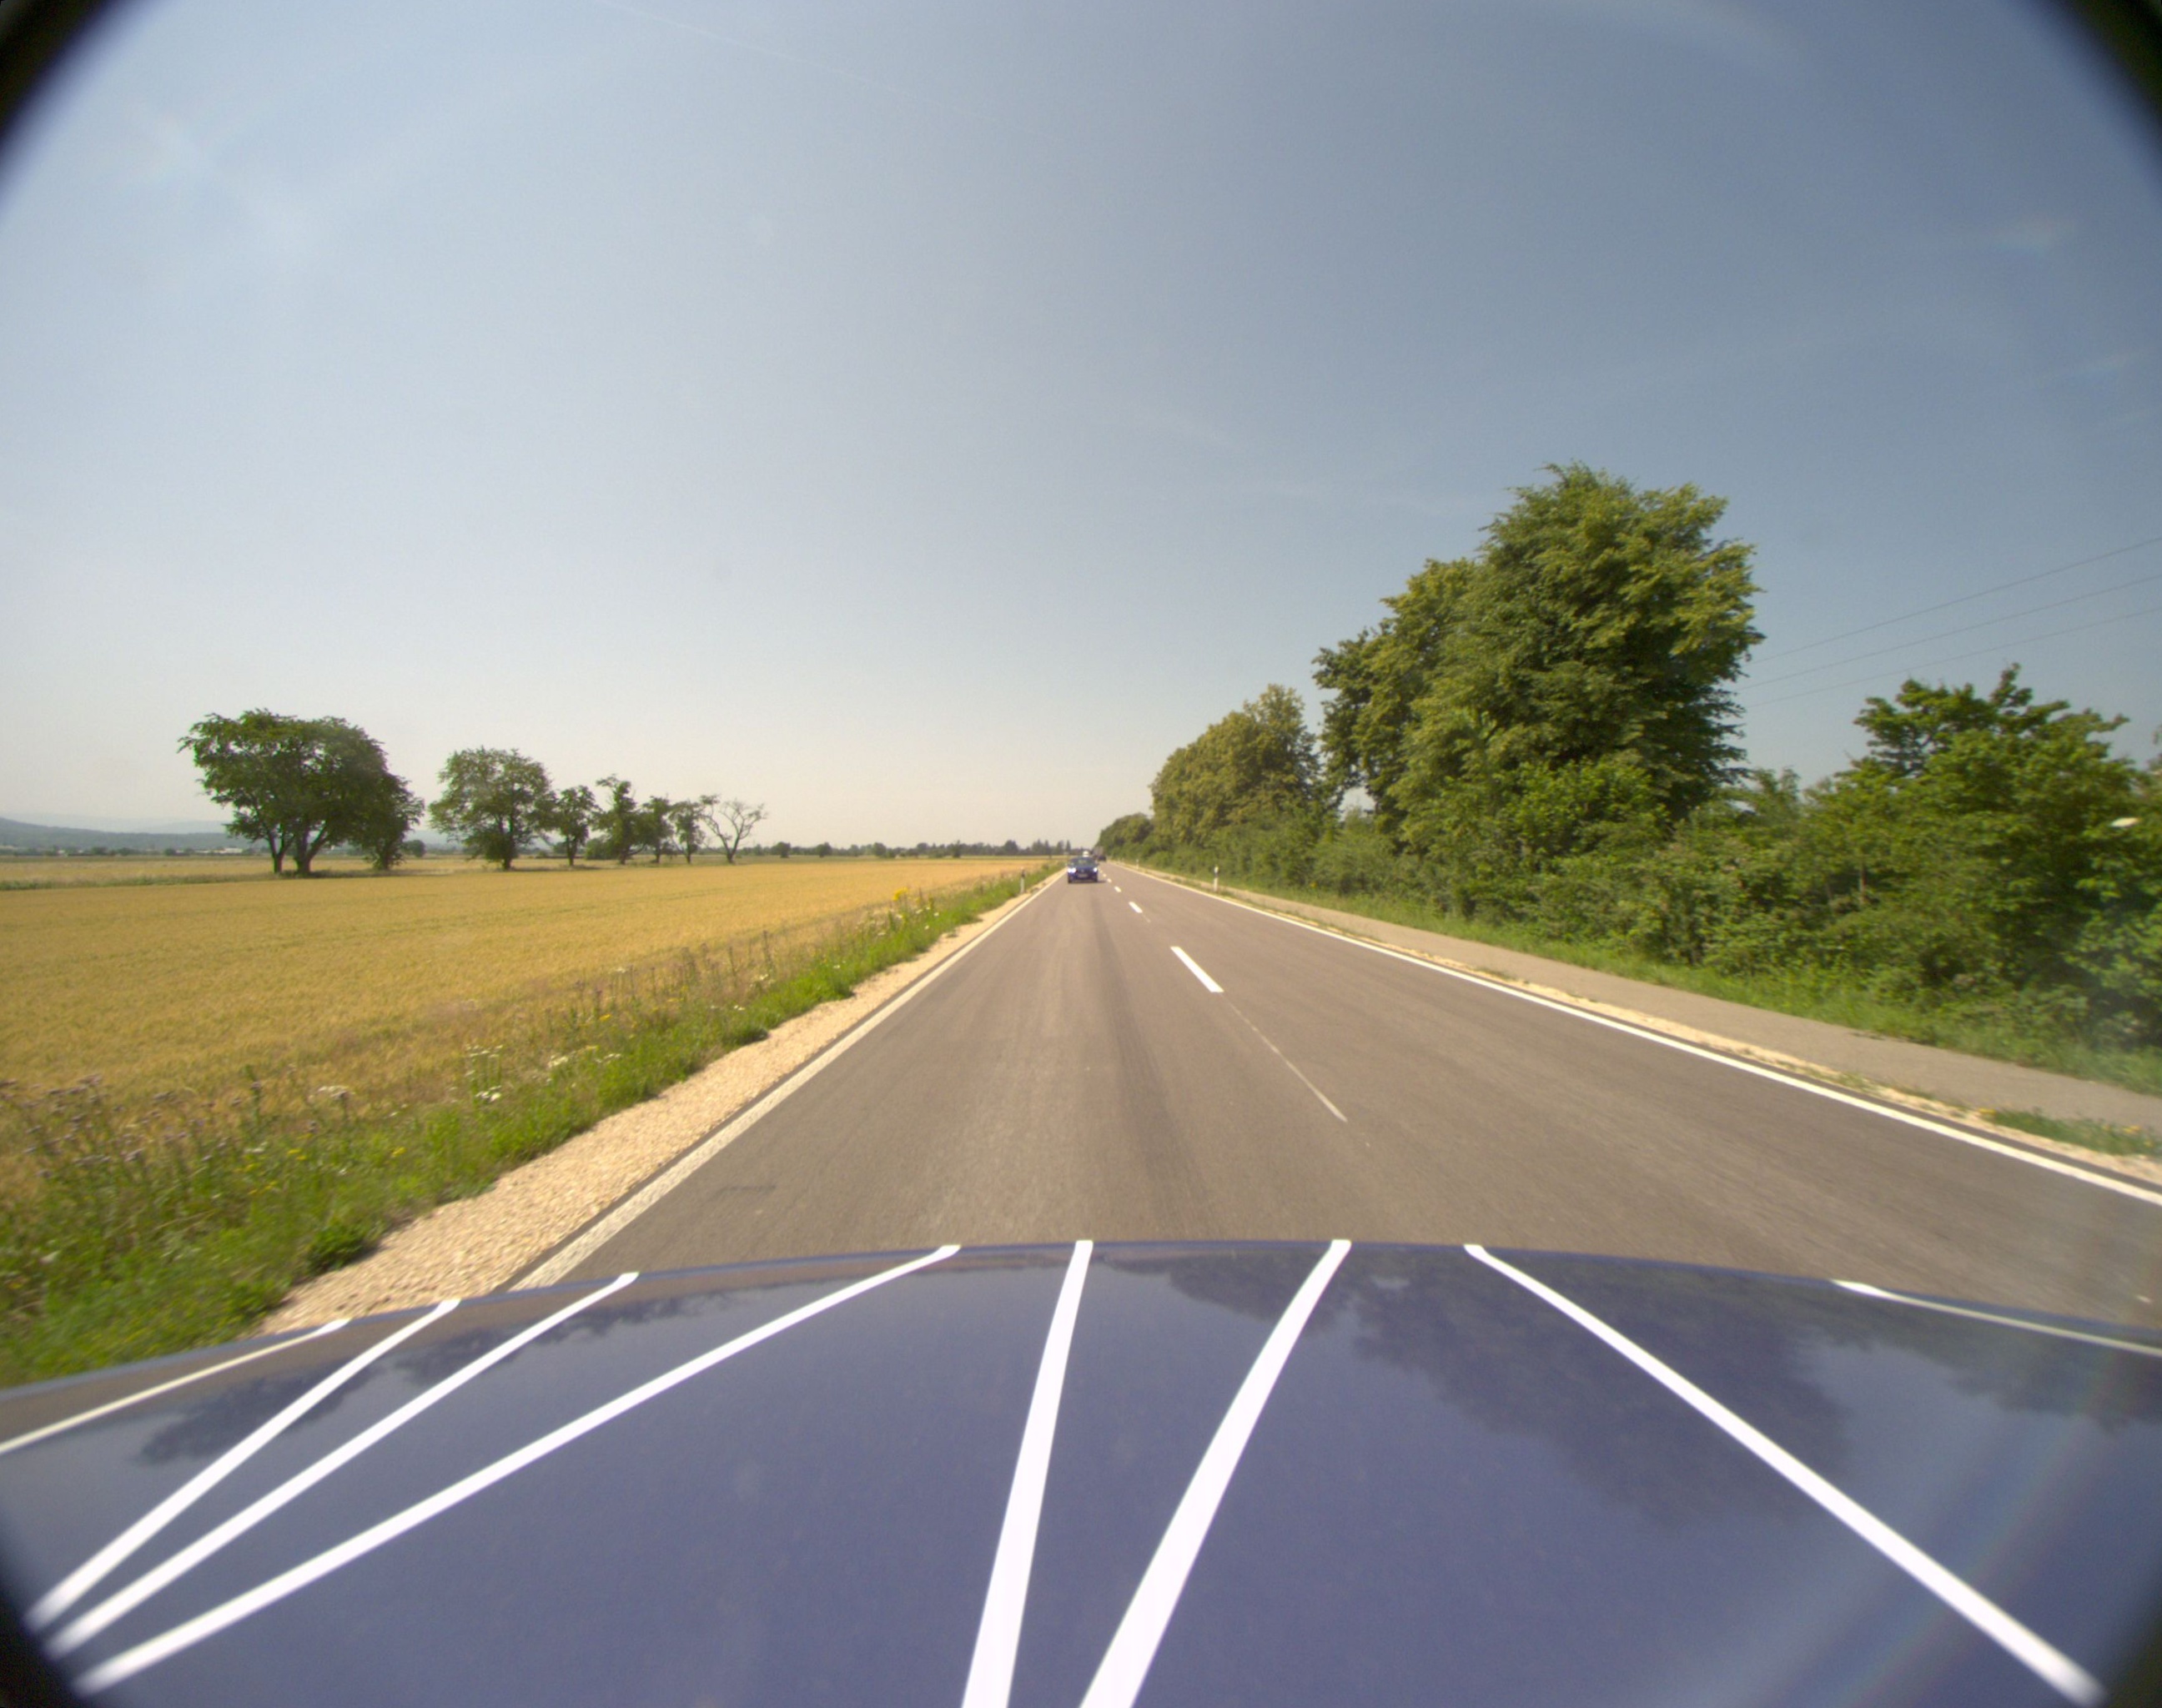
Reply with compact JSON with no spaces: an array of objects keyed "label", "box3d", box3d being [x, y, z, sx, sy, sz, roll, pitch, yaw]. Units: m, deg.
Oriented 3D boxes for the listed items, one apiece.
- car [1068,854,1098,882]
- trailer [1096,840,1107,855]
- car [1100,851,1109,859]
[{"label":"car","box3d":[0.103,0.791,44.659,1.662,1.509,3.999,-2,0,0]},{"label":"trailer","box3d":[5.713,-1.807,214.517,2.660,3.954,13.353,1,0,1]},{"label":"car","box3d":[5.098,0.218,165.602,1.796,1.565,4.478,0,0,0]}]
